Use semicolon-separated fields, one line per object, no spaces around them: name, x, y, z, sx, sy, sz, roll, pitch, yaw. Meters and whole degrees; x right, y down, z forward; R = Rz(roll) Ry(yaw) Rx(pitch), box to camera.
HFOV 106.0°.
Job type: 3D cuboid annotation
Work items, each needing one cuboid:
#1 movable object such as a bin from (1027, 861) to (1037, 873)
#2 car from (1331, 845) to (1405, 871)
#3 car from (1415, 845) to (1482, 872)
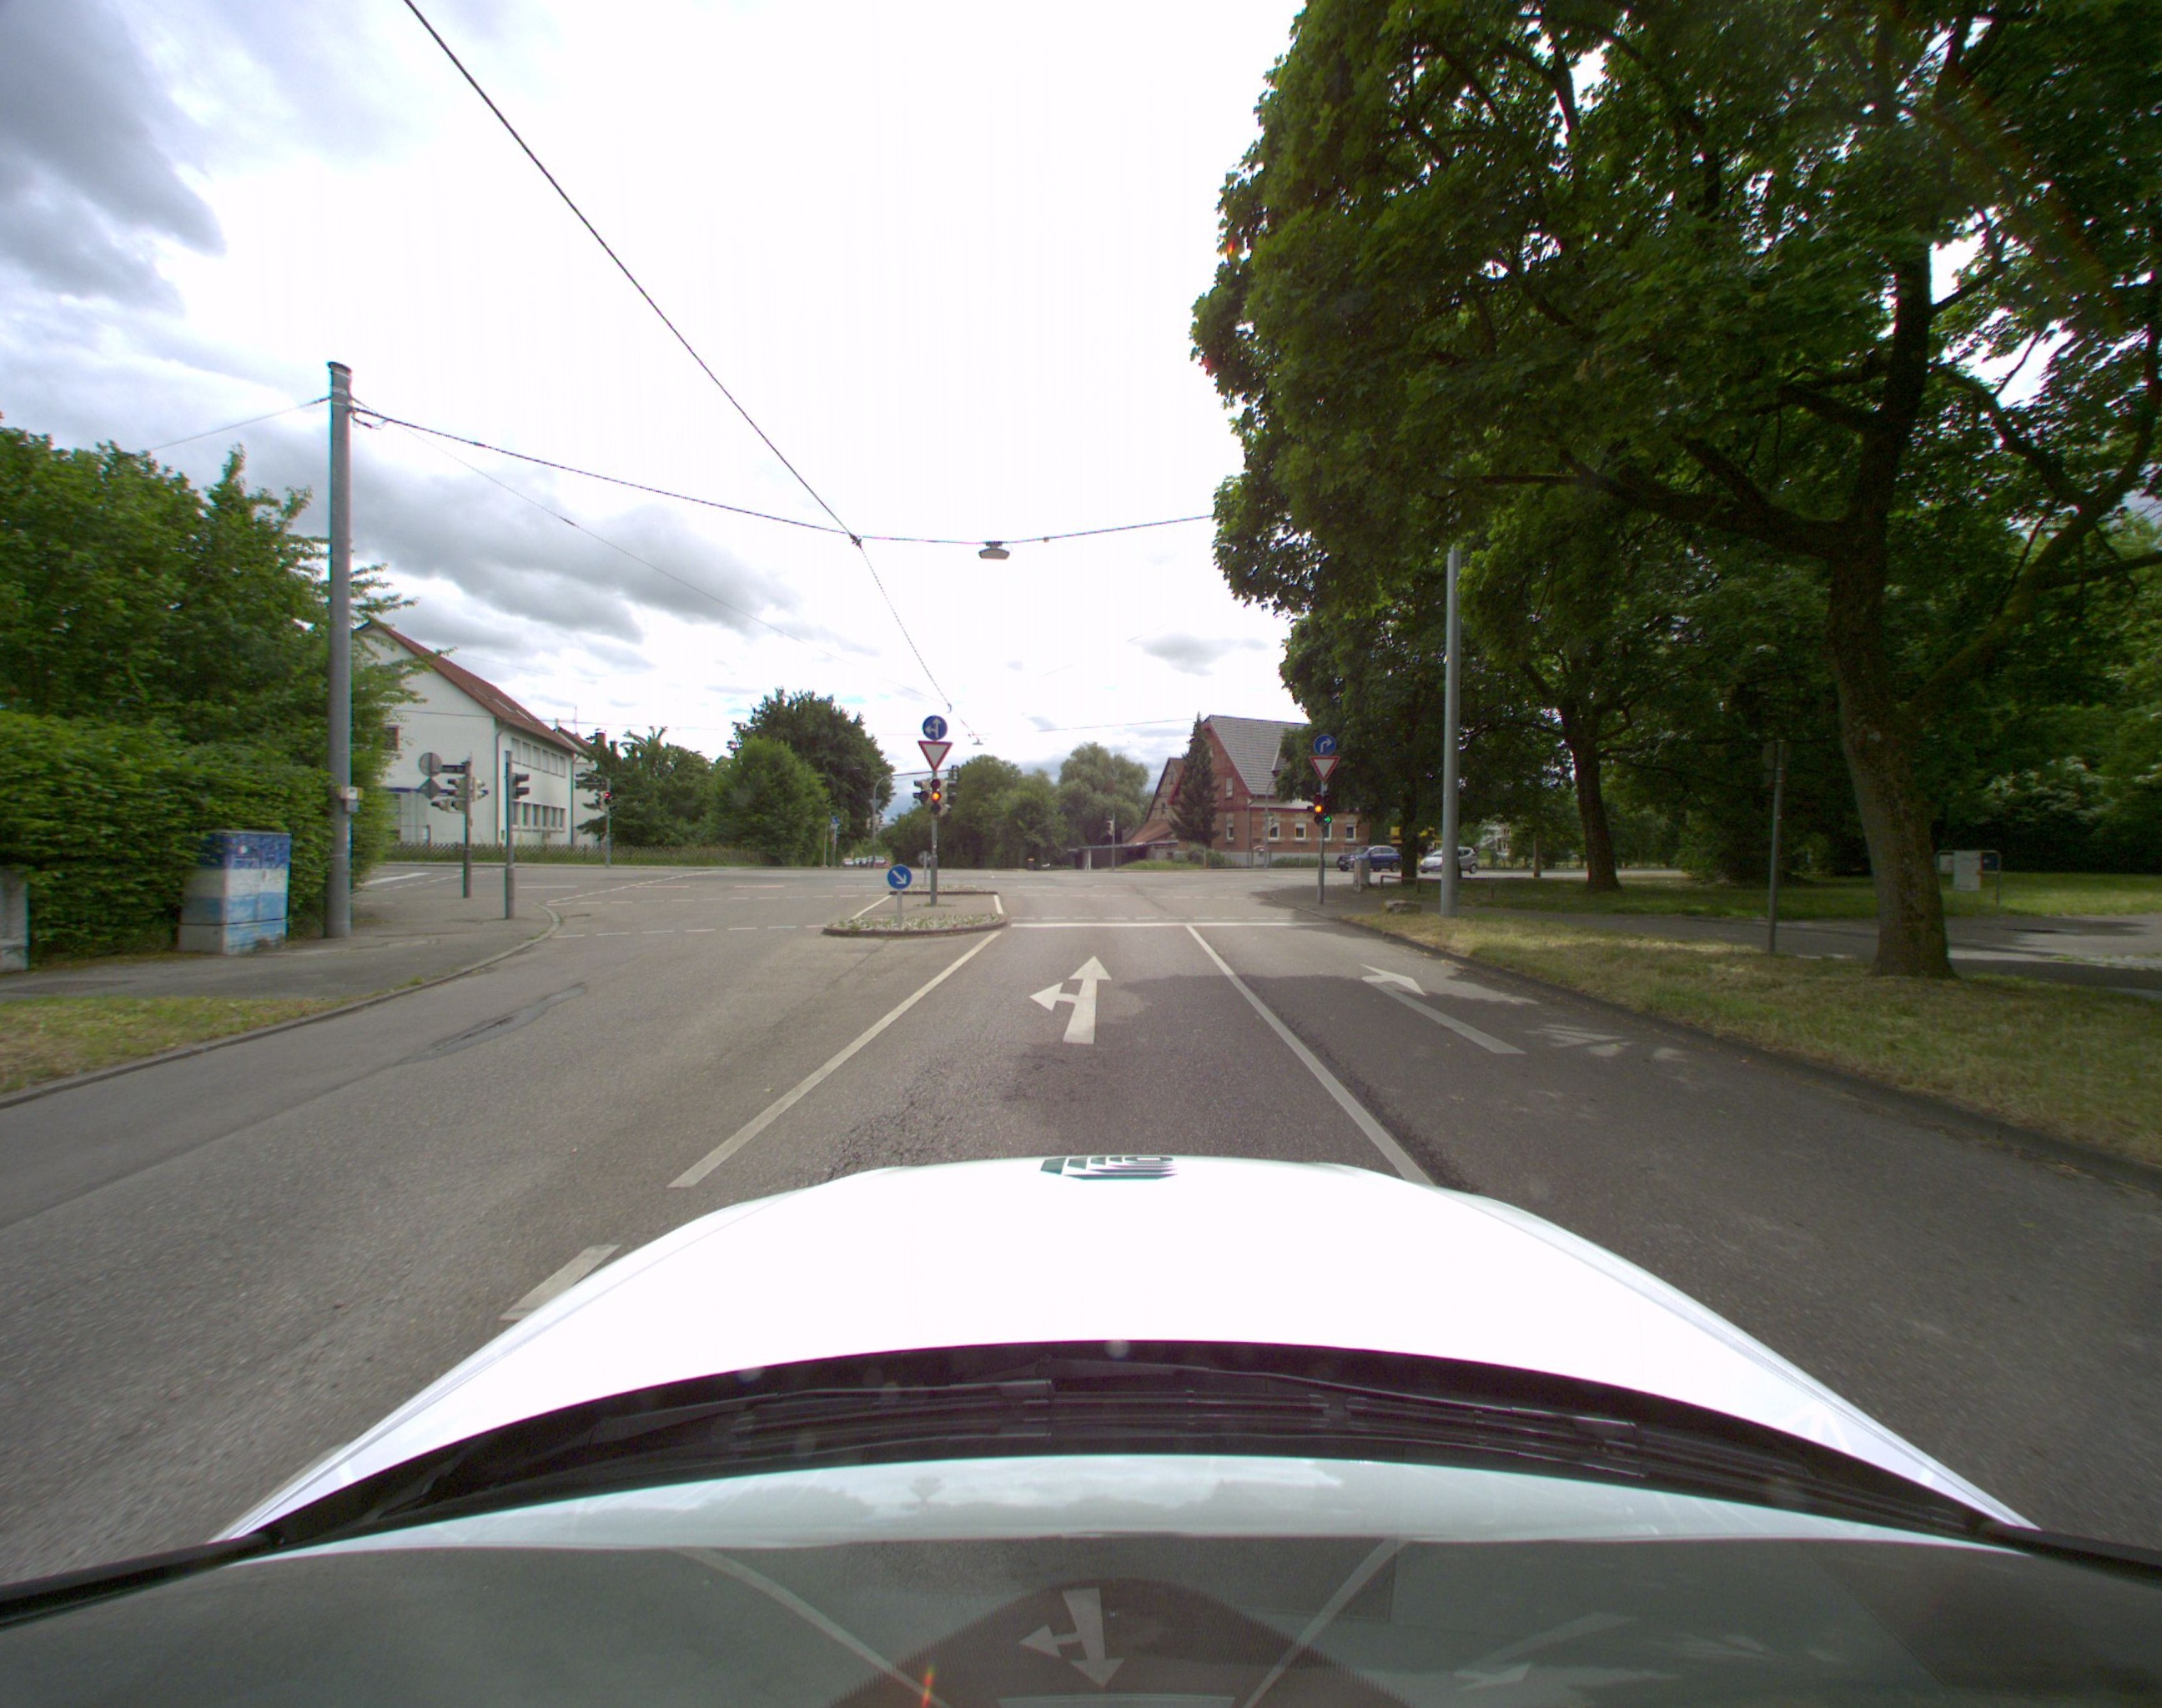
movable object such as a bin;-3.796;0.990;62.910;0.586;0.906;0.605;0;0;19
car;17.401;0.225;49.393;4.003;1.518;1.913;0;0;-22
car;21.598;0.272;47.835;3.567;1.519;1.764;0;-1;-29
